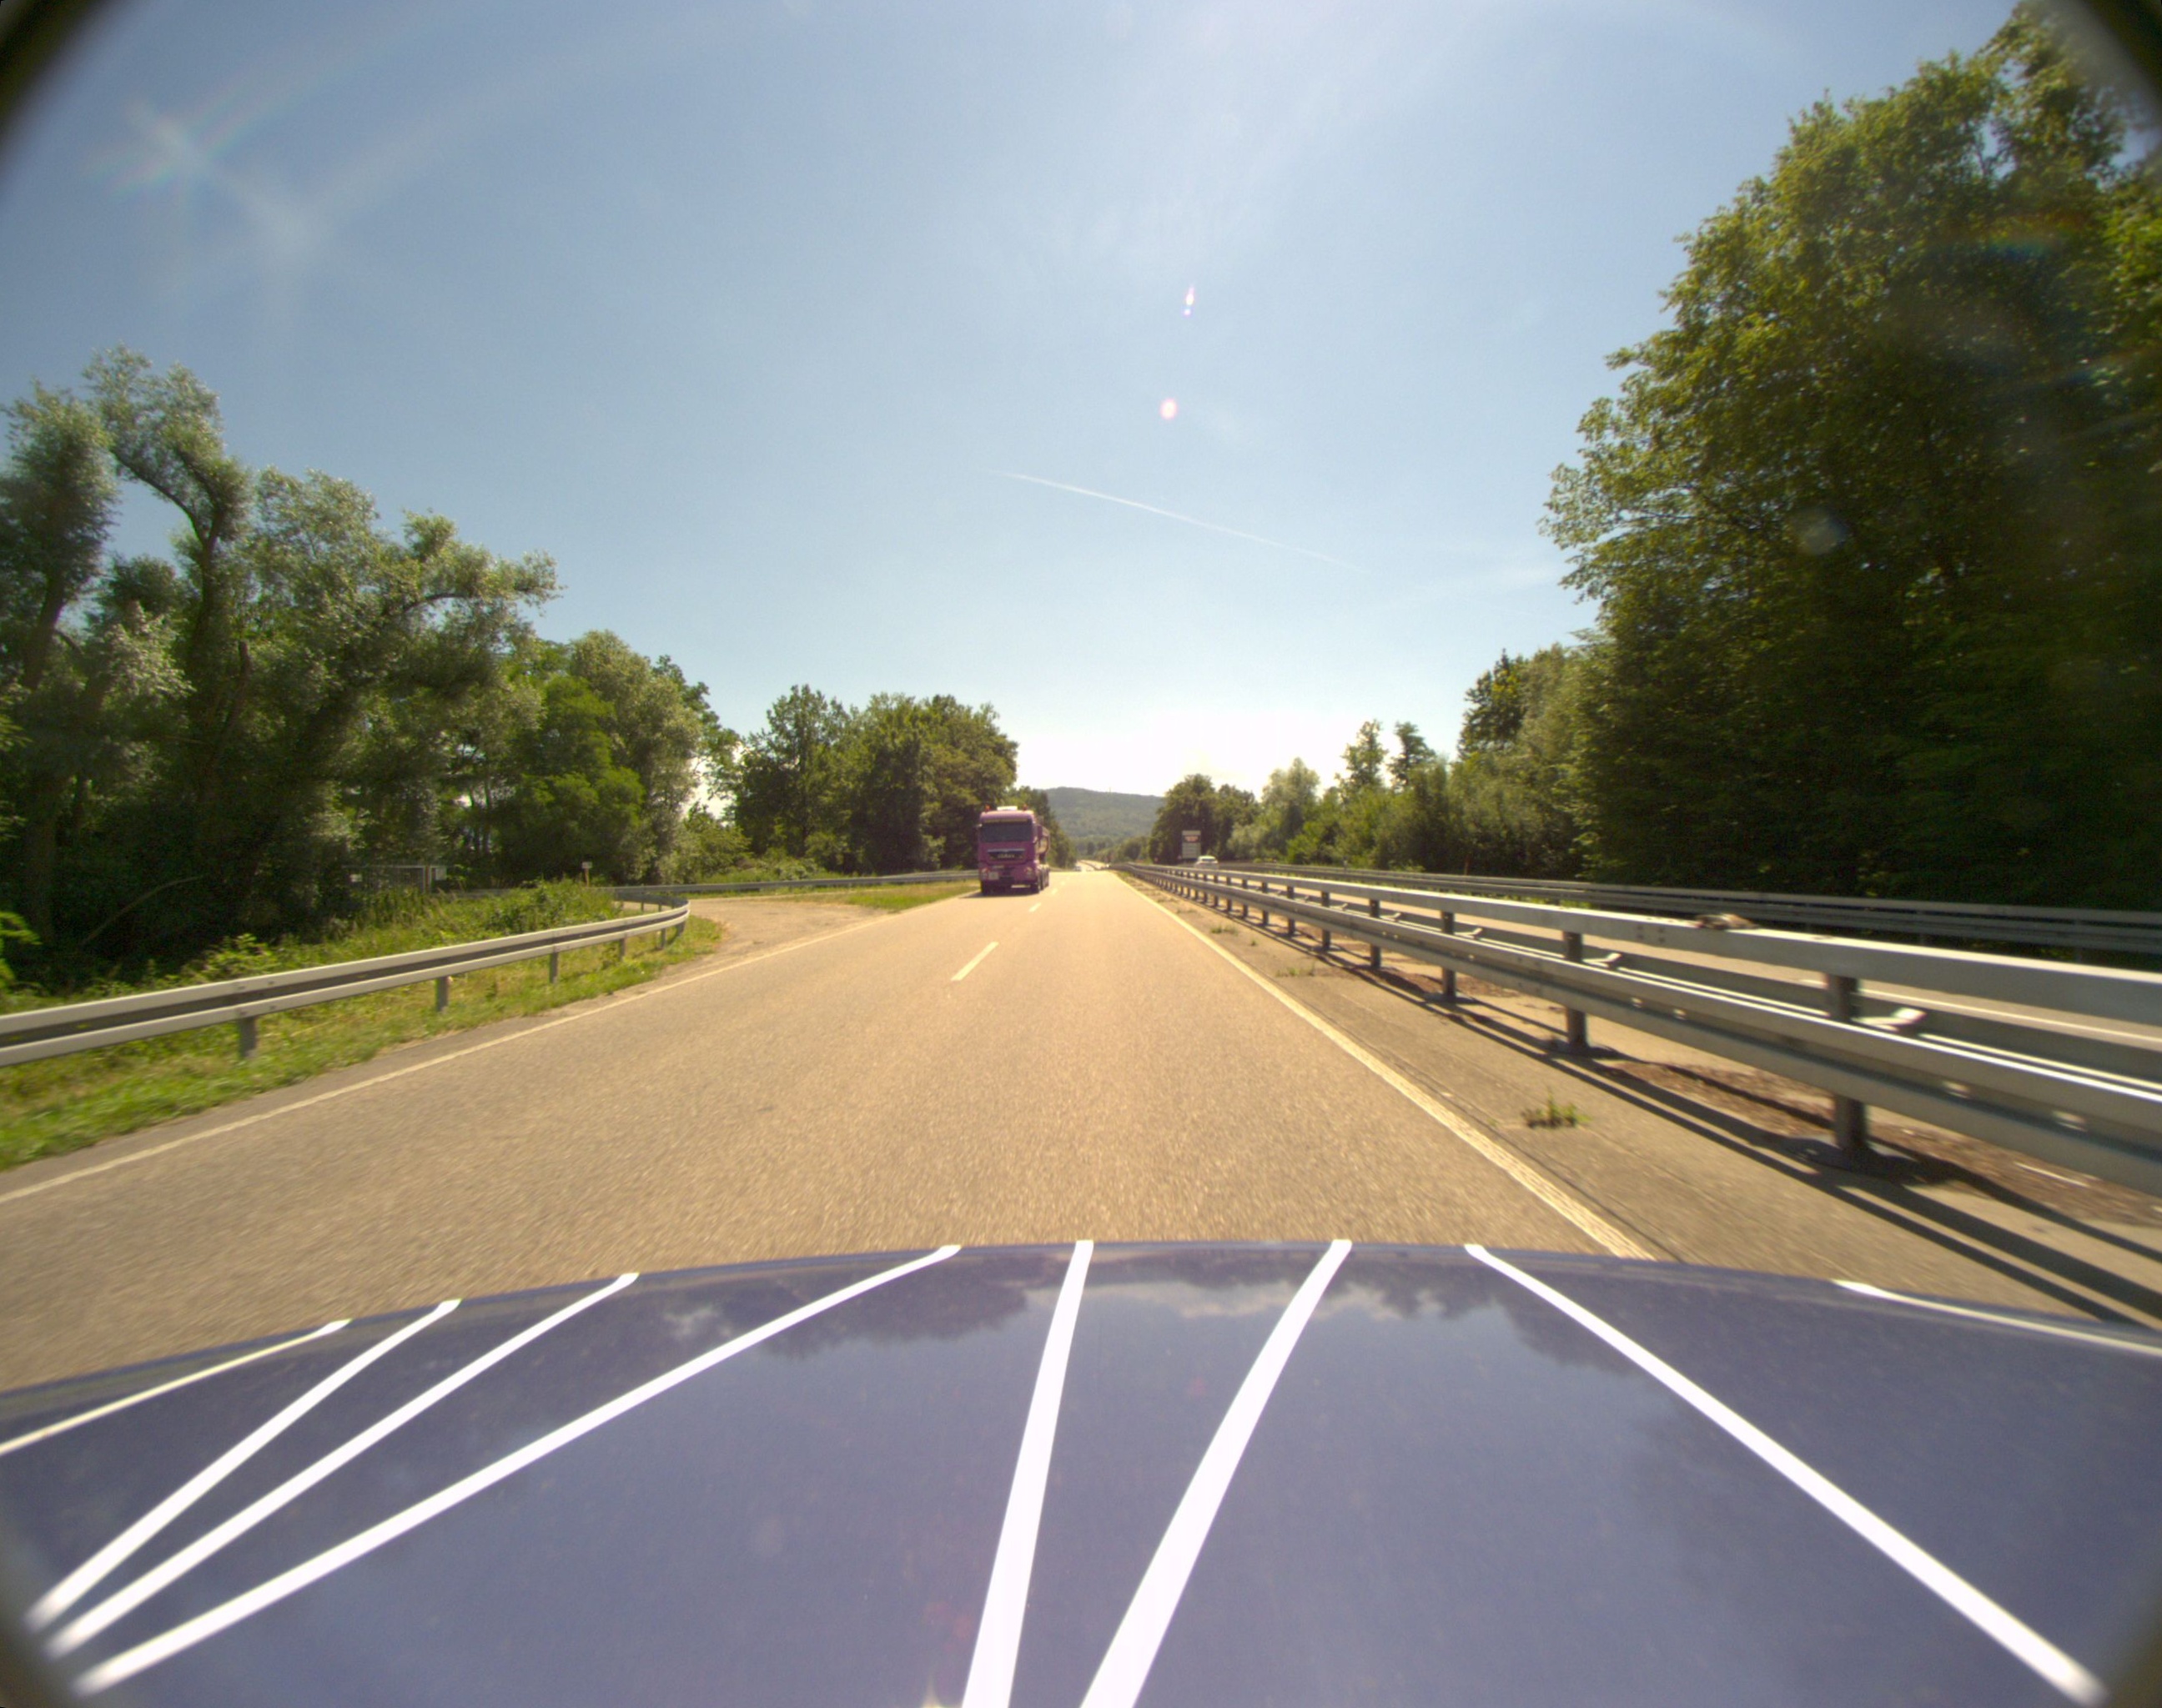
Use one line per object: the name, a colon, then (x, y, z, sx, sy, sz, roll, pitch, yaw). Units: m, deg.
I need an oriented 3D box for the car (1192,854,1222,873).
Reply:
car: (11.229, 0.820, 68.069, 1.823, 1.589, 4.840, 1, 0, 0)

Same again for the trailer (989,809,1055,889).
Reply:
trailer: (-2.862, -0.187, 39.457, 2.605, 3.607, 8.614, -2, -1, 0)

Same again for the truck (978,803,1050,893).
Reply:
truck: (-2.923, -0.225, 34.634, 2.605, 3.669, 5.939, -2, -1, 0)
